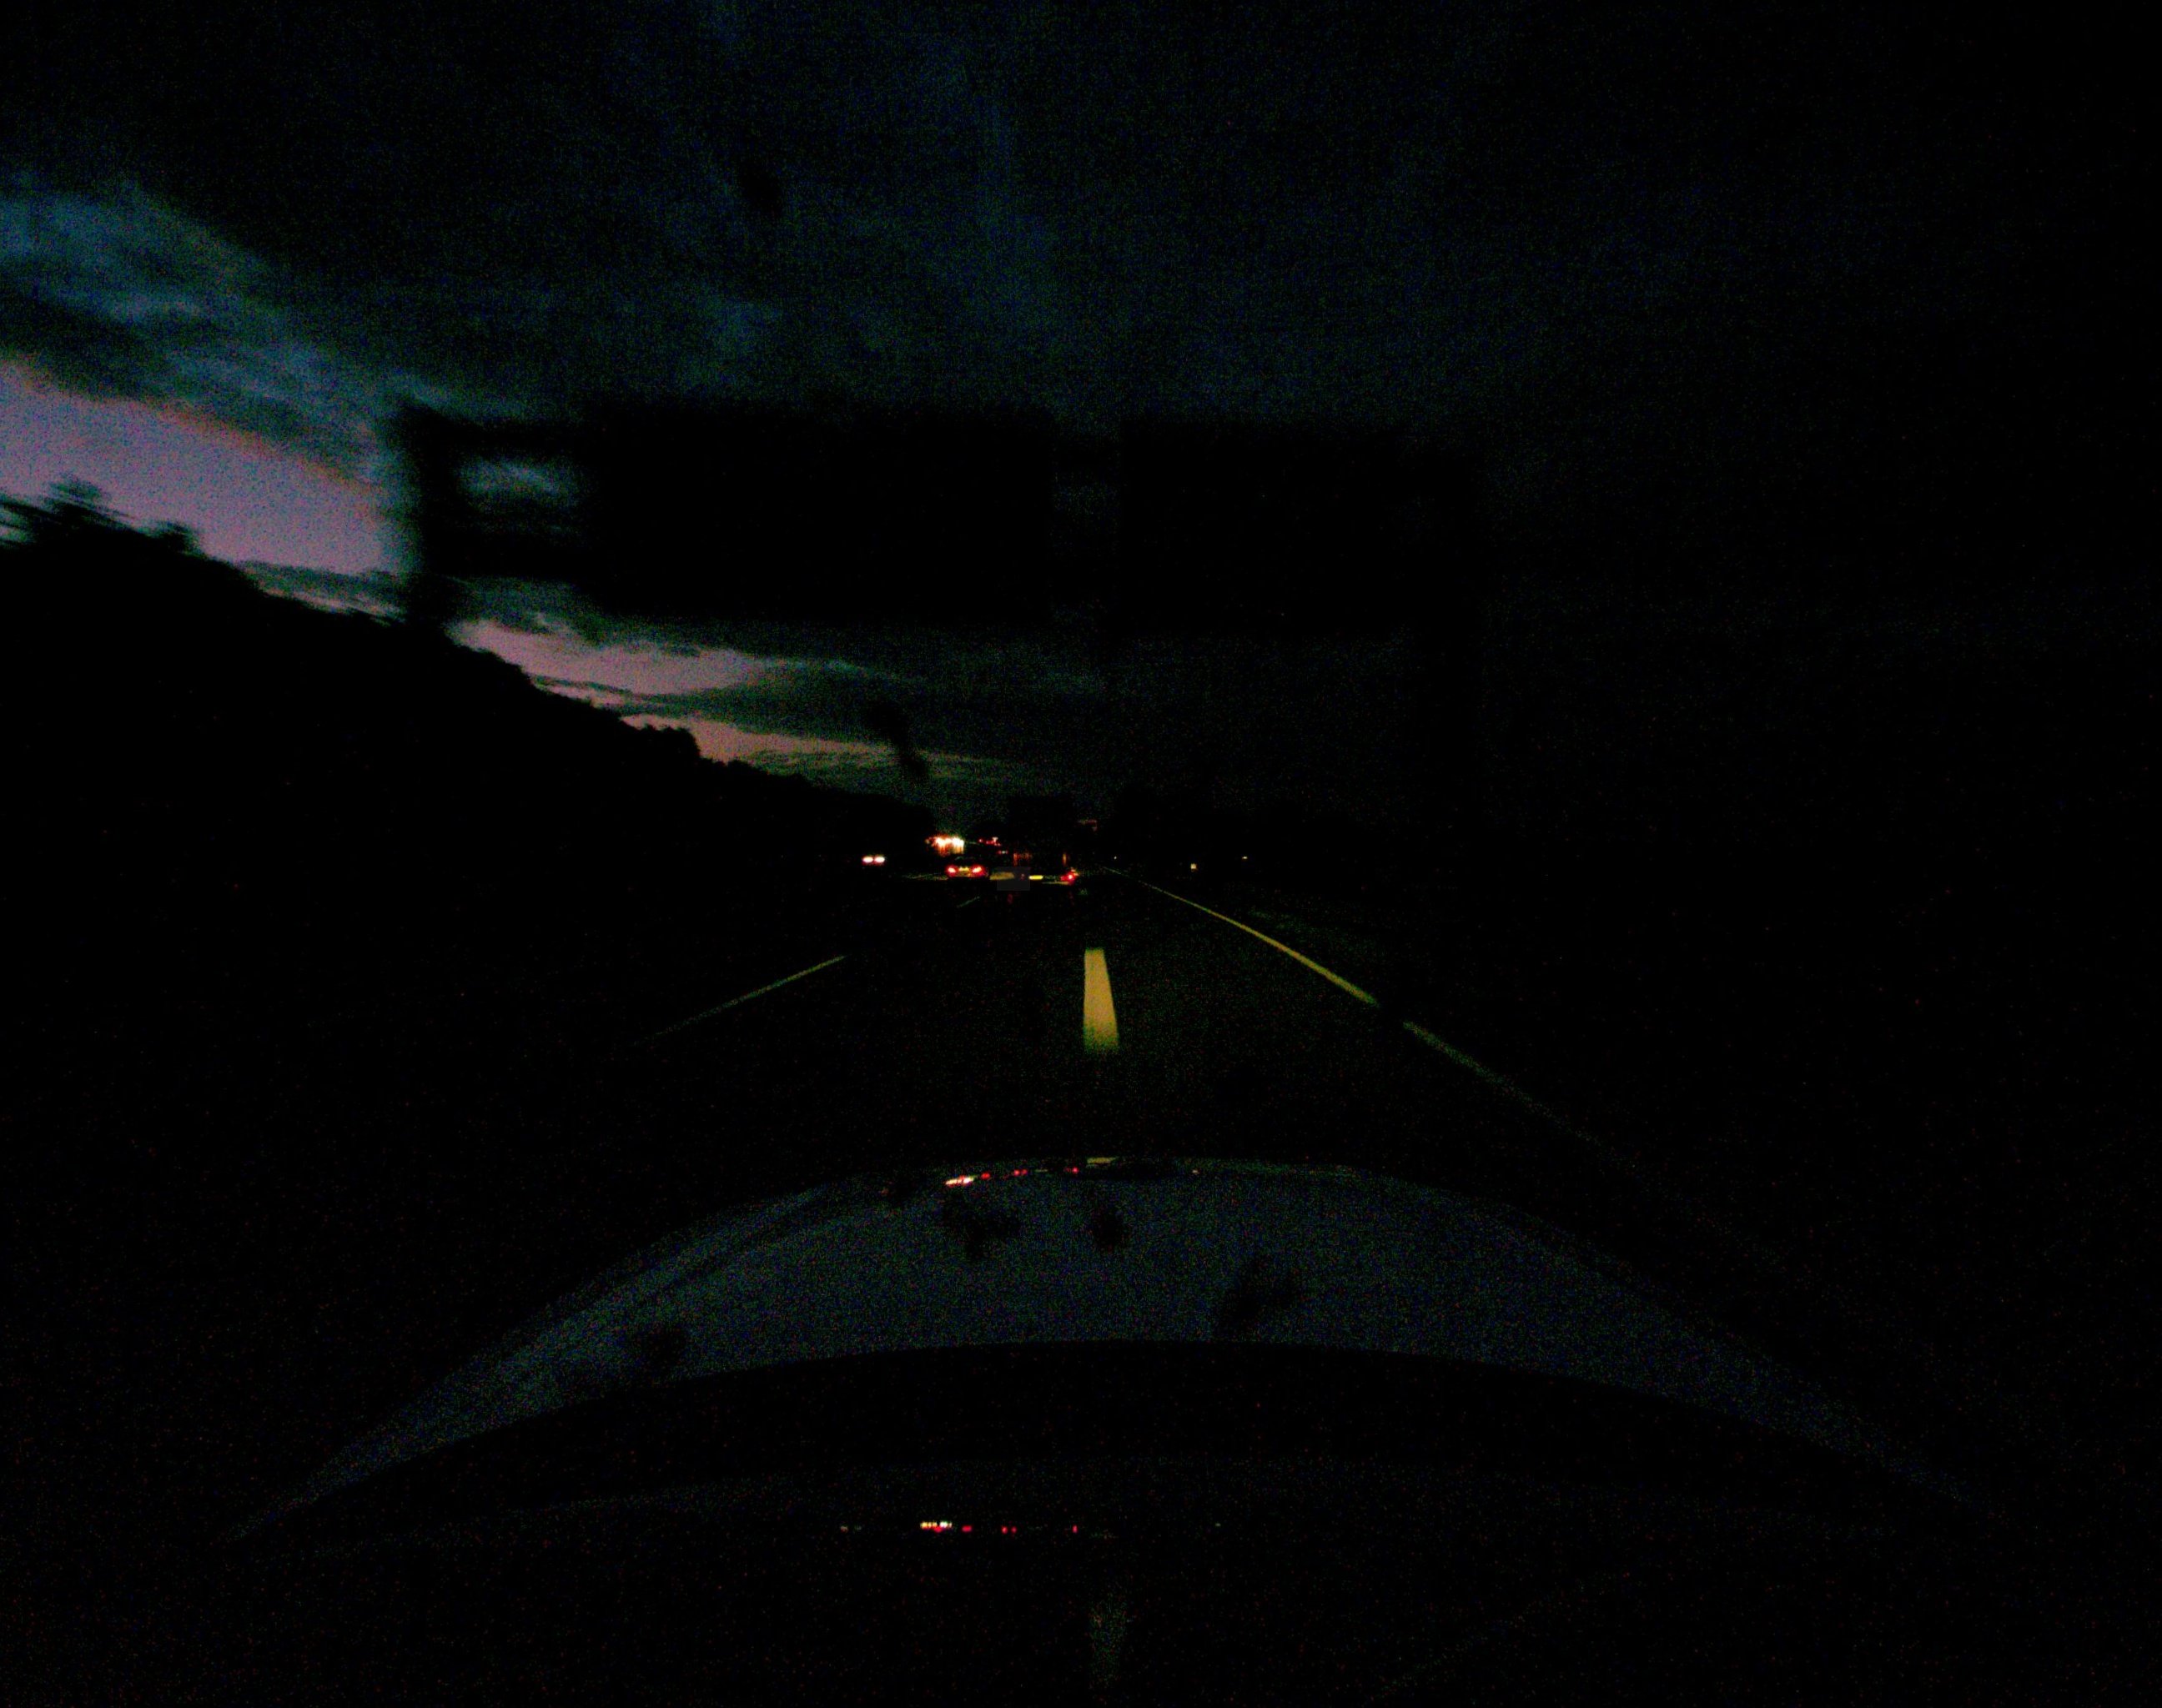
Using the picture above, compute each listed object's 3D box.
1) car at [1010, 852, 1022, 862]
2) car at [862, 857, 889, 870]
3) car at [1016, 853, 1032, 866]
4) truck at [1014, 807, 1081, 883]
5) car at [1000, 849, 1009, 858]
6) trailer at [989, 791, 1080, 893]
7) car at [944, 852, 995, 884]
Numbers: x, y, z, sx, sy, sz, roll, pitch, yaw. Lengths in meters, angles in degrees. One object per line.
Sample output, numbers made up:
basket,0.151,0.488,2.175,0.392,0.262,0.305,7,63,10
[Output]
car,-13.438,0.606,168.102,1.986,2.014,4.000,1,-2,1
car,-23.341,1.062,92.730,1.987,1.419,4.150,1,0,0
car,-7.649,0.760,110.225,2.060,1.686,4.571,1,-2,-3
truck,-1.841,-0.467,47.506,3.539,4.091,6.151,-1,0,0
car,-14.483,-0.018,154.307,1.759,1.575,4.568,1,-2,-5
trailer,-1.935,-0.466,40.875,3.538,4.116,15.062,-1,0,0
car,-5.848,0.765,43.178,1.899,1.614,4.804,1,-2,2
